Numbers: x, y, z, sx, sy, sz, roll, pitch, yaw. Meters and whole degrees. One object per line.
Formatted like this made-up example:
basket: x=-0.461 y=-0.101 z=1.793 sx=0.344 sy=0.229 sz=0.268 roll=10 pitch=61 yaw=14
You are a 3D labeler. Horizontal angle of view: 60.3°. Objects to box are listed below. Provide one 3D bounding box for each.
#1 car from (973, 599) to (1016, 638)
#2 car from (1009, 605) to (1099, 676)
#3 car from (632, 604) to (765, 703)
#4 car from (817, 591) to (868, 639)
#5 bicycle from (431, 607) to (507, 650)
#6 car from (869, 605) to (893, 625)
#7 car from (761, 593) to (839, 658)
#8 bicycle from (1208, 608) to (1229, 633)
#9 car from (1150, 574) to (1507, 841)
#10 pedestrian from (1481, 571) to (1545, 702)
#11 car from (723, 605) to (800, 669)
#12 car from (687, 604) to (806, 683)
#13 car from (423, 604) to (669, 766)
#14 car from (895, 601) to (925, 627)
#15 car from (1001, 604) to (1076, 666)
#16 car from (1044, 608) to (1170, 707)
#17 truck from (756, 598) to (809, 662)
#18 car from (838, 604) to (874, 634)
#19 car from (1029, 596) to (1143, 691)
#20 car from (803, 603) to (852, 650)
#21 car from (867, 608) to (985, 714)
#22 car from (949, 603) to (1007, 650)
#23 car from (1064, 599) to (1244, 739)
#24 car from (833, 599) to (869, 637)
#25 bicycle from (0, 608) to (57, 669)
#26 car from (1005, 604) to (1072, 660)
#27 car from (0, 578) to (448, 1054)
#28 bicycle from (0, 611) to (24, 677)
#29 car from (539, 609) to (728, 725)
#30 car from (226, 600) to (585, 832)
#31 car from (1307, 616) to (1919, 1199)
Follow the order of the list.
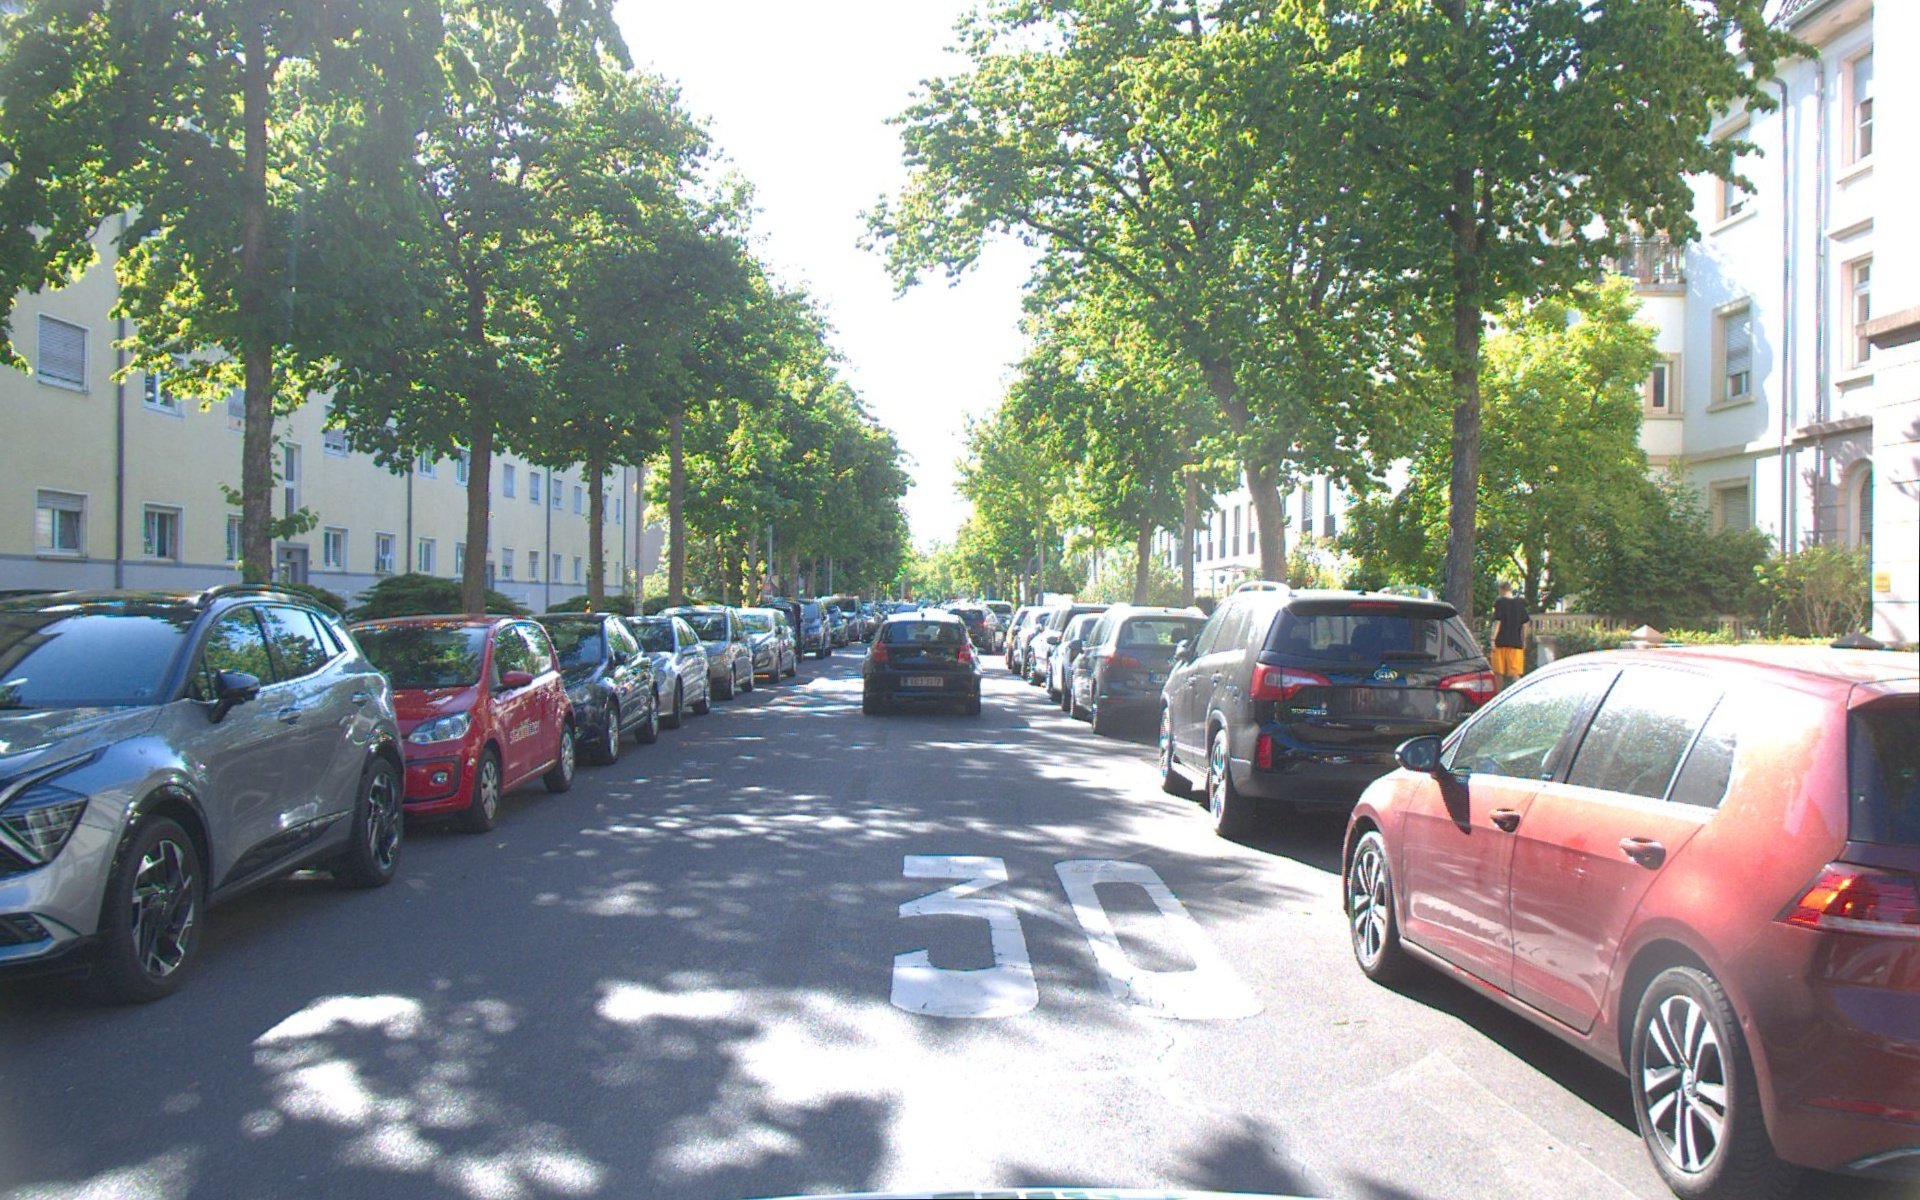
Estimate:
car: x=1.513 y=0.823 z=73.542 sx=1.810 sy=1.659 sz=4.410 roll=1 pitch=-1 yaw=1
car: x=2.020 y=0.853 z=36.541 sx=1.616 sy=1.453 sz=3.610 roll=0 pitch=0 yaw=-3
car: x=-4.457 y=0.868 z=28.754 sx=1.587 sy=1.542 sz=4.268 roll=-2 pitch=0 yaw=0
car: x=-4.983 y=0.639 z=70.437 sx=1.789 sy=1.938 sz=5.141 roll=-1 pitch=0 yaw=0
bicycle: x=-12.668 y=0.736 z=42.662 sx=1.803 sy=1.100 sz=0.486 roll=0 pitch=0 yaw=-4
car: x=-5.652 y=1.066 z=118.468 sx=1.579 sy=1.416 sz=3.864 roll=-1 pitch=0 yaw=-2
car: x=-4.570 y=0.706 z=47.869 sx=1.812 sy=1.710 sz=4.975 roll=-2 pitch=0 yaw=-1
bicycle: x=11.287 y=0.898 z=72.366 sx=0.535 sy=1.073 sz=1.779 roll=-1 pitch=0 yaw=-3
car: x=2.655 y=0.696 z=12.934 sx=1.745 sy=1.728 sz=4.296 roll=0 pitch=0 yaw=-1
pedestrian: x=7.779 y=0.500 z=23.302 sx=0.609 sy=1.806 sz=0.799 roll=-1 pitch=0 yaw=-1
car: x=-4.663 y=0.840 z=39.210 sx=1.490 sy=1.420 sz=3.725 roll=0 pitch=0 yaw=-2
car: x=-4.354 y=0.843 z=34.372 sx=1.755 sy=1.470 sz=4.688 roll=-1 pitch=0 yaw=1
car: x=-4.194 y=0.795 z=17.345 sx=1.631 sy=1.484 sz=3.932 roll=0 pitch=0 yaw=-1
car: x=-2.875 y=0.785 z=95.105 sx=1.474 sy=1.451 sz=3.179 roll=0 pitch=0 yaw=3
car: x=1.926 y=0.847 z=41.602 sx=1.603 sy=1.480 sz=4.098 roll=0 pitch=0 yaw=-1
car: x=2.302 y=0.866 z=26.783 sx=1.596 sy=1.450 sz=4.367 roll=0 pitch=0 yaw=-1
truck: x=-4.614 y=0.758 z=43.237 sx=1.061 sy=1.605 sz=2.432 roll=0 pitch=0 yaw=1
car: x=-5.100 y=0.916 z=81.261 sx=1.579 sy=1.452 sz=4.056 roll=-1 pitch=0 yaw=-2
car: x=2.327 y=0.772 z=31.428 sx=1.616 sy=1.684 sz=3.844 roll=1 pitch=0 yaw=-4
car: x=-4.757 y=0.930 z=59.820 sx=1.477 sy=1.575 sz=4.777 roll=-2 pitch=0 yaw=-1
car: x=-0.500 y=0.836 z=24.328 sx=1.616 sy=1.421 sz=3.410 roll=0 pitch=0 yaw=-1
car: x=0.558 y=0.828 z=53.614 sx=1.616 sy=1.450 sz=3.998 roll=0 pitch=0 yaw=-3
car: x=2.481 y=0.829 z=22.191 sx=1.650 sy=1.615 sz=4.533 roll=3 pitch=0 yaw=-2
car: x=-4.990 y=0.805 z=75.955 sx=1.580 sy=1.639 sz=4.227 roll=-1 pitch=0 yaw=-3
bicycle: x=-15.206 y=0.608 z=26.107 sx=1.602 sy=0.947 sz=0.480 roll=0 pitch=0 yaw=-9
car: x=2.150 y=0.850 z=46.171 sx=1.666 sy=1.474 sz=4.082 roll=0 pitch=0 yaw=0
car: x=-3.906 y=0.716 z=7.868 sx=1.657 sy=1.592 sz=4.733 roll=0 pitch=0 yaw=-3
bicycle: x=-14.569 y=0.642 z=24.072 sx=1.600 sy=0.947 sz=0.481 roll=0 pitch=0 yaw=-4
car: x=-4.371 y=0.839 z=22.818 sx=1.710 sy=1.392 sz=4.673 roll=-1 pitch=0 yaw=-1
car: x=-3.993 y=0.762 z=12.450 sx=1.631 sy=1.512 sz=3.255 roll=0 pitch=0 yaw=-1
car: x=2.624 y=0.800 z=5.832 sx=1.579 sy=1.434 sz=4.347 roll=0 pitch=0 yaw=-5
